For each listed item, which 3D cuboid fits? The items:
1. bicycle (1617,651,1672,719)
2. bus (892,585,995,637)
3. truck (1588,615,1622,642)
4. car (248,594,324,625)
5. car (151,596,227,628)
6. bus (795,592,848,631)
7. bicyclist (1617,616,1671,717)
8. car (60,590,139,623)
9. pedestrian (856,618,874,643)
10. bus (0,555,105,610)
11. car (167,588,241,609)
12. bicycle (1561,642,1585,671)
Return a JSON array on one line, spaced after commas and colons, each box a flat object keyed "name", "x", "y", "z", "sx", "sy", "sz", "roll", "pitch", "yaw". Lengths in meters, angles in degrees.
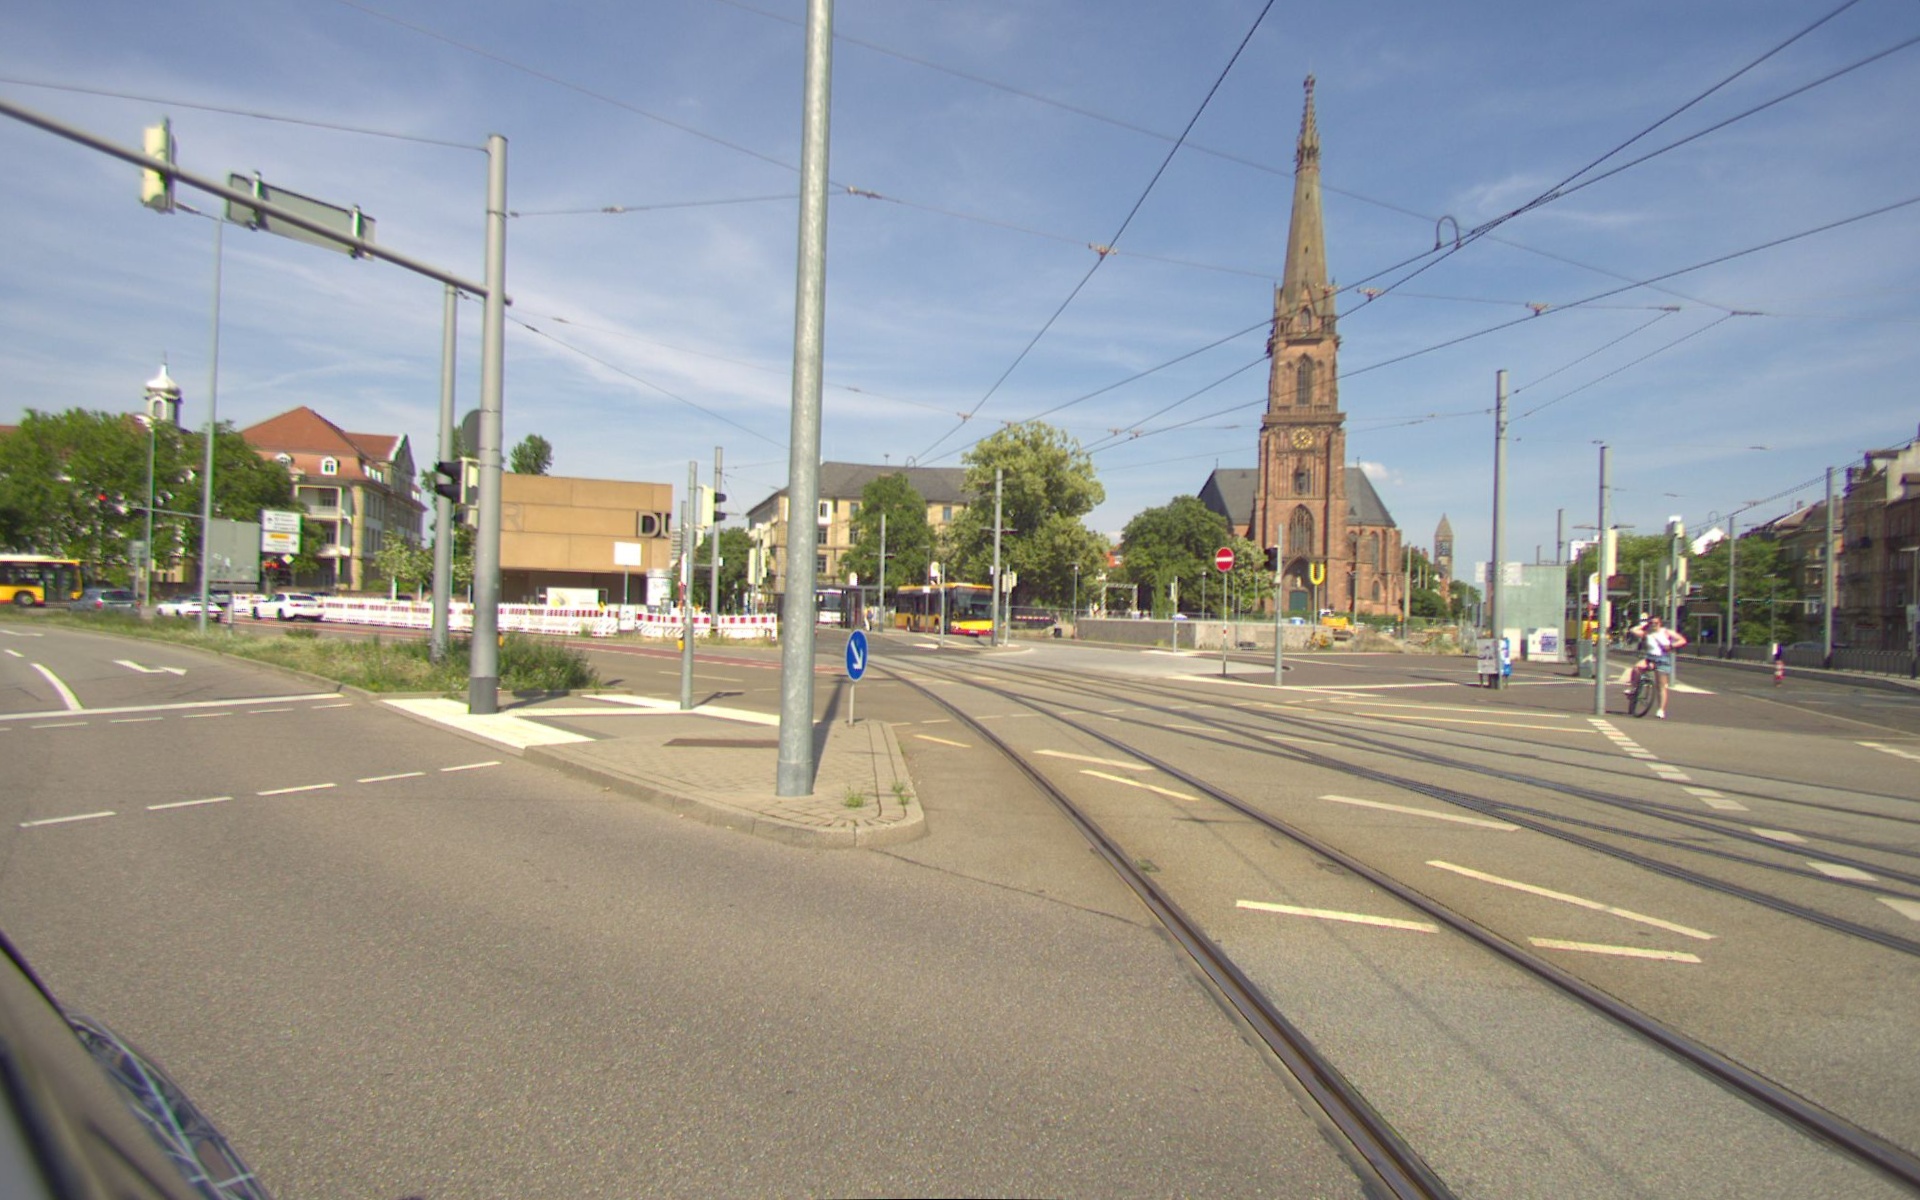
[{"name": "bicycle", "x": 11.993, "y": 1.471, "z": 17.756, "sx": 0.749, "sy": 1.092, "sz": 1.828, "roll": 1, "pitch": -3, "yaw": 34}, {"name": "bus", "x": -1.225, "y": 0.493, "z": 60.021, "sx": 2.711, "sy": 2.703, "sz": 11.827, "roll": 0, "pitch": 1, "yaw": -18}, {"name": "truck", "x": 80.567, "y": 3.629, "z": 126.488, "sx": 2.538, "sy": 3.324, "sz": 8.947, "roll": -1, "pitch": -3, "yaw": 26}, {"name": "car", "x": -33.769, "y": 0.458, "z": 50.698, "sx": 3.989, "sy": 1.431, "sz": 1.783, "roll": 1, "pitch": 1, "yaw": 34}, {"name": "car", "x": -35.084, "y": 0.524, "z": 46.035, "sx": 3.989, "sy": 1.296, "sz": 1.581, "roll": 1, "pitch": 1, "yaw": 34}, {"name": "bus", "x": -13.062, "y": 1.062, "z": 94.384, "sx": 2.711, "sy": 3.348, "sz": 11.825, "roll": 2, "pitch": -1, "yaw": -18}, {"name": "bicyclist", "x": 11.988, "y": 1.157, "z": 17.758, "sx": 0.749, "sy": 1.697, "sz": 0.768, "roll": 1, "pitch": -3, "yaw": 34}, {"name": "car", "x": -37.472, "y": 0.259, "z": 44.052, "sx": 3.989, "sy": 1.296, "sz": 1.581, "roll": 1, "pitch": 1, "yaw": 34}, {"name": "pedestrian", "x": -5.395, "y": 1.712, "z": 57.290, "sx": 0.912, "sy": 1.377, "sz": 0.531, "roll": 1, "pitch": 1, "yaw": 45}, {"name": "bus", "x": -57.880, "y": -1.127, "z": 58.969, "sx": 11.937, "sy": 3.061, "sz": 2.806, "roll": 2, "pitch": -1, "yaw": -23}, {"name": "car", "x": -55.344, "y": -0.146, "z": 74.188, "sx": 1.746, "sy": 1.454, "sz": 4.087, "roll": 1, "pitch": 1, "yaw": 19}, {"name": "bicycle", "x": 24.612, "y": 2.247, "z": 40.643, "sx": 1.639, "sy": 1.079, "sz": 0.414, "roll": 0, "pitch": 0, "yaw": -44}]
